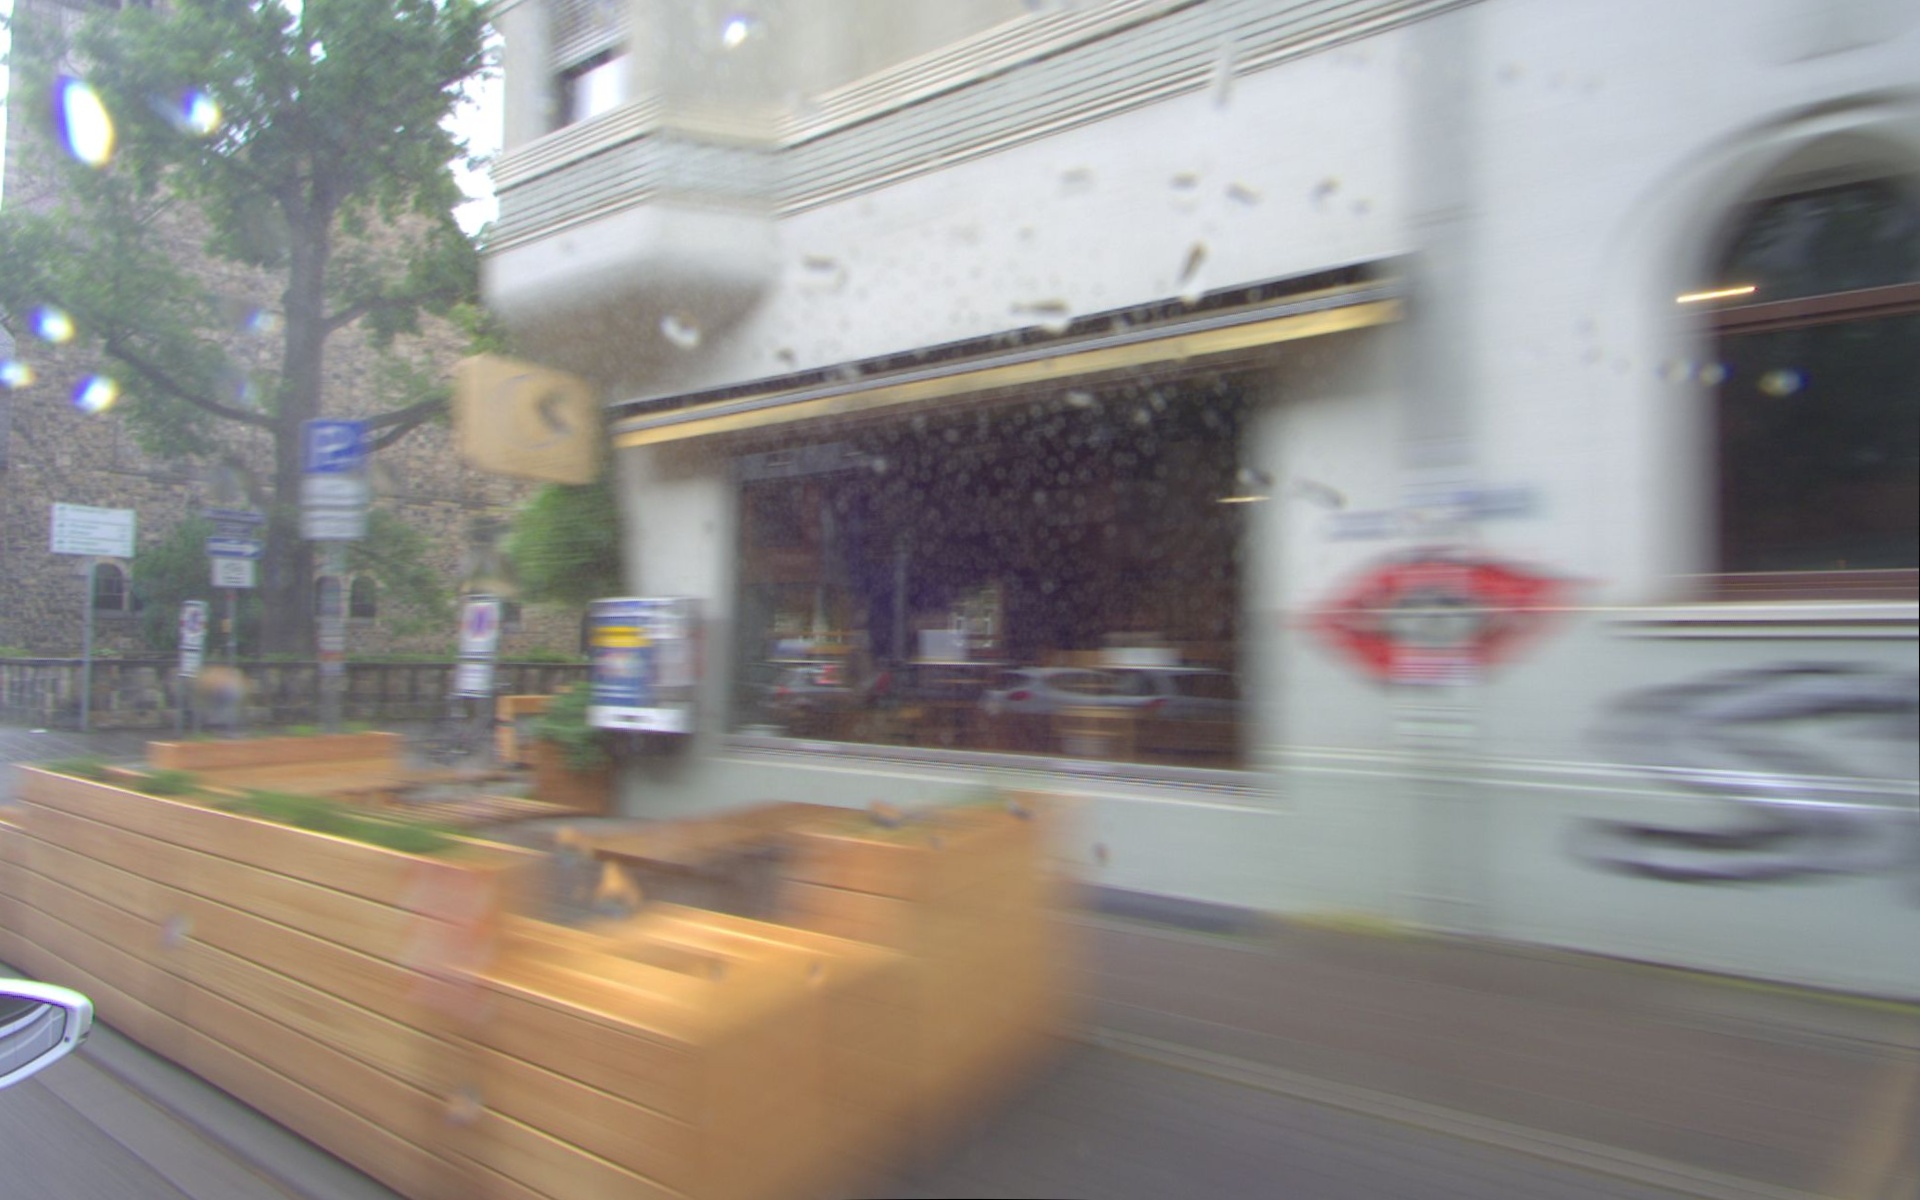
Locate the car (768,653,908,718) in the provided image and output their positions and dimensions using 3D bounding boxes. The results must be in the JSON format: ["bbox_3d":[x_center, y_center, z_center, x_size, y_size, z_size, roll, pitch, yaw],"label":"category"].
[{"bbox_3d":[-3.265,2.298,27.411,1.691,1.575,3.835,1,-3,33],"label":"car"}]

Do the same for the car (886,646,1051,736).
[{"bbox_3d":[0.274,1.928,21.414,1.789,1.718,3.838,-4,-5,31],"label":"car"}]

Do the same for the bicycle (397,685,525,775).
[{"bbox_3d":[-5.932,1.530,11.870,1.894,0.990,0.451,-5,-5,33],"label":"bicycle"}]
